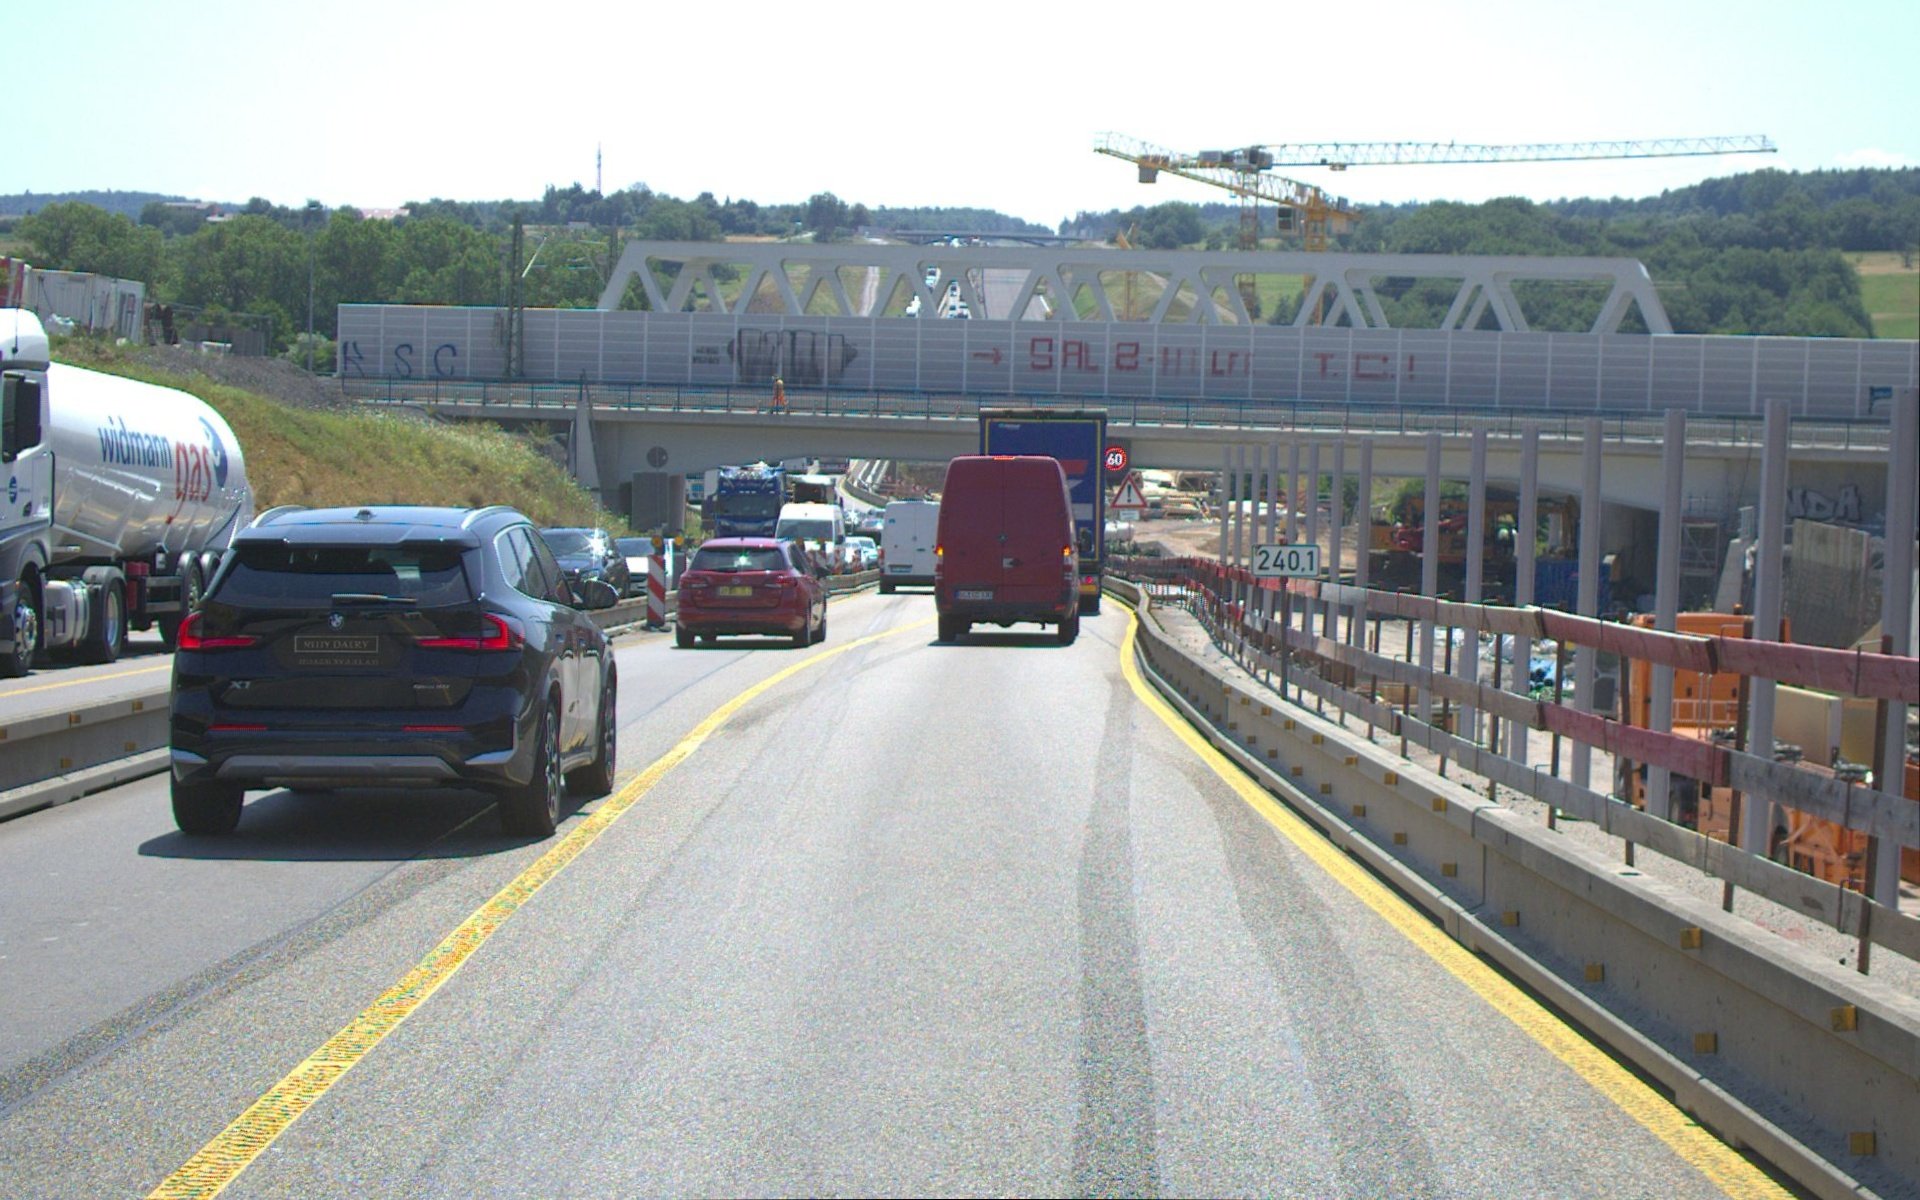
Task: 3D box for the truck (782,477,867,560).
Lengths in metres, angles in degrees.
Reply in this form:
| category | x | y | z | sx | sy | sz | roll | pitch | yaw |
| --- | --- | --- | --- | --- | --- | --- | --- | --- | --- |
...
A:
| category | x | y | z | sx | sy | sz | roll | pitch | yaw |
| --- | --- | --- | --- | --- | --- | --- | --- | --- | --- |
| truck | -6.558 | -4.002 | 168.397 | 2.835 | 3.839 | 12.911 | 1 | 1 | 3 |

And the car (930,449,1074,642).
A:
| category | x | y | z | sx | sy | sz | roll | pitch | yaw |
| --- | --- | --- | --- | --- | --- | --- | --- | --- | --- |
| car | 0.653 | -0.822 | 50.159 | 1.988 | 2.681 | 4.623 | 0 | 1 | 2 |

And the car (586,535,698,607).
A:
| category | x | y | z | sx | sy | sz | roll | pitch | yaw |
| --- | --- | --- | --- | --- | --- | --- | --- | --- | --- |
| car | -6.994 | -0.662 | 76.086 | 1.961 | 1.459 | 4.941 | 1 | 1 | 0 |

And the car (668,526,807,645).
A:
| category | x | y | z | sx | sy | sz | roll | pitch | yaw |
| --- | --- | --- | --- | --- | --- | --- | --- | --- | --- |
| car | -2.989 | -0.232 | 46.826 | 1.775 | 1.512 | 4.207 | 0 | 1 | -2 |

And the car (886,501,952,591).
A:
| category | x | y | z | sx | sy | sz | roll | pitch | yaw |
| --- | --- | --- | --- | --- | --- | --- | --- | --- | --- |
| car | -1.141 | -1.517 | 95.189 | 1.776 | 2.433 | 4.206 | 0 | 1 | -1 |

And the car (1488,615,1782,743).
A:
| category | x | y | z | sx | sy | sz | roll | pitch | yaw |
| --- | --- | --- | --- | --- | --- | --- | --- | --- | --- |
| car | 15.706 | 1.836 | 80.156 | 6.086 | 2.576 | 2.531 | 2 | 3 | -9 |

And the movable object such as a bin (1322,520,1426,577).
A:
| category | x | y | z | sx | sy | sz | roll | pitch | yaw |
| --- | --- | --- | --- | --- | --- | --- | --- | --- | --- |
| movable object such as a bin | 21.102 | -2.641 | 175.441 | 5.147 | 2.798 | 2.142 | 1 | 1 | 6 |

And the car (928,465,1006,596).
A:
| category | x | y | z | sx | sy | sz | roll | pitch | yaw |
| --- | --- | --- | --- | --- | --- | --- | --- | --- | --- |
| car | 0.186 | -2.291 | 112.251 | 2.450 | 4.146 | 6.861 | 0 | 1 | -1 |

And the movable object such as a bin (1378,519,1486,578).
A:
| category | x | y | z | sx | sy | sz | roll | pitch | yaw |
| --- | --- | --- | --- | --- | --- | --- | --- | --- | --- |
| movable object such as a bin | 23.344 | -2.577 | 170.244 | 5.147 | 2.798 | 2.142 | 1 | 1 | 6 |

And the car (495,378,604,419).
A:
| category | x | y | z | sx | sy | sz | roll | pitch | yaw |
| --- | --- | --- | --- | --- | --- | --- | --- | --- | --- |
| car | -18.866 | -9.265 | 157.969 | 4.556 | 1.776 | 1.959 | 1 | 1 | 13 |

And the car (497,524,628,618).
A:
| category | x | y | z | sx | sy | sz | roll | pitch | yaw |
| --- | --- | --- | --- | --- | --- | --- | --- | --- | --- |
| car | -7.218 | -0.559 | 62.788 | 1.791 | 1.606 | 4.733 | 1 | 1 | 0 |

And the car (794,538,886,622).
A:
| category | x | y | z | sx | sy | sz | roll | pitch | yaw |
| --- | --- | --- | --- | --- | --- | --- | --- | --- | --- |
| car | -2.470 | -0.441 | 71.374 | 1.839 | 1.648 | 4.165 | 0 | 2 | -1 |

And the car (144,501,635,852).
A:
| category | x | y | z | sx | sy | sz | roll | pitch | yaw |
| --- | --- | --- | --- | --- | --- | --- | --- | --- | --- |
| car | -2.845 | 0.294 | 18.097 | 1.879 | 1.612 | 4.499 | 0 | 1 | -1 |

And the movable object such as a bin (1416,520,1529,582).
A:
| category | x | y | z | sx | sy | sz | roll | pitch | yaw |
| --- | --- | --- | --- | --- | --- | --- | --- | --- | --- |
| movable object such as a bin | 24.378 | -2.350 | 163.709 | 5.147 | 2.798 | 2.142 | 1 | 1 | 6 |

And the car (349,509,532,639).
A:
| category | x | y | z | sx | sy | sz | roll | pitch | yaw |
| --- | --- | --- | --- | --- | --- | --- | --- | --- | --- |
| car | -7.221 | -0.408 | 48.198 | 1.880 | 1.739 | 4.483 | 0 | 1 | 0 |

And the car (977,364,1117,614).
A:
| category | x | y | z | sx | sy | sz | roll | pitch | yaw |
| --- | --- | --- | --- | --- | --- | --- | --- | --- | --- |
| car | 1.774 | -2.369 | 74.333 | 2.621 | 5.015 | 10.398 | 0 | 1 | -1 |

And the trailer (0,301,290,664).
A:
| category | x | y | z | sx | sy | sz | roll | pitch | yaw |
| --- | --- | --- | --- | --- | --- | --- | --- | --- | --- |
| trailer | -10.633 | -1.399 | 42.035 | 2.590 | 3.788 | 11.919 | 1 | 1 | -1 |

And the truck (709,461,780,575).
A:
| category | x | y | z | sx | sy | sz | roll | pitch | yaw |
| --- | --- | --- | --- | --- | --- | --- | --- | --- | --- |
| truck | -7.747 | -2.951 | 124.032 | 2.357 | 4.001 | 4.001 | 1 | 1 | -2 |

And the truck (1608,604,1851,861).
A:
| category | x | y | z | sx | sy | sz | roll | pitch | yaw |
| --- | --- | --- | --- | --- | --- | --- | --- | --- | --- |
| truck | 12.761 | 2.101 | 57.503 | 2.758 | 3.873 | 5.882 | 1 | 1 | 1 |

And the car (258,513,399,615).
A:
| category | x | y | z | sx | sy | sz | roll | pitch | yaw |
| --- | --- | --- | --- | --- | --- | --- | --- | --- | --- |
| car | -11.288 | -0.678 | 61.682 | 1.790 | 1.756 | 4.538 | 0 | 1 | -1 |

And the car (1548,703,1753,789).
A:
| category | x | y | z | sx | sy | sz | roll | pitch | yaw |
| --- | --- | --- | --- | --- | --- | --- | --- | --- | --- |
| car | 17.510 | 3.689 | 87.334 | 4.728 | 1.767 | 2.000 | 3 | 3 | 1 |

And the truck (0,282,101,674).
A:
| category | x | y | z | sx | sy | sz | roll | pitch | yaw |
| --- | --- | --- | --- | --- | --- | --- | --- | --- | --- |
| truck | -10.544 | -1.246 | 35.077 | 2.590 | 3.788 | 3.767 | 1 | 1 | 0 |

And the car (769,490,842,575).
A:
| category | x | y | z | sx | sy | sz | roll | pitch | yaw |
| --- | --- | --- | --- | --- | --- | --- | --- | --- | --- |
| car | -4.924 | -2.189 | 110.335 | 1.993 | 2.598 | 7.011 | 1 | 1 | 0 |

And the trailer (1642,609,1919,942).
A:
| category | x | y | z | sx | sy | sz | roll | pitch | yaw |
| --- | --- | --- | --- | --- | --- | --- | --- | --- | --- |
| trailer | 12.618 | 2.275 | 50.444 | 2.758 | 3.873 | 13.049 | 1 | 1 | 1 |
